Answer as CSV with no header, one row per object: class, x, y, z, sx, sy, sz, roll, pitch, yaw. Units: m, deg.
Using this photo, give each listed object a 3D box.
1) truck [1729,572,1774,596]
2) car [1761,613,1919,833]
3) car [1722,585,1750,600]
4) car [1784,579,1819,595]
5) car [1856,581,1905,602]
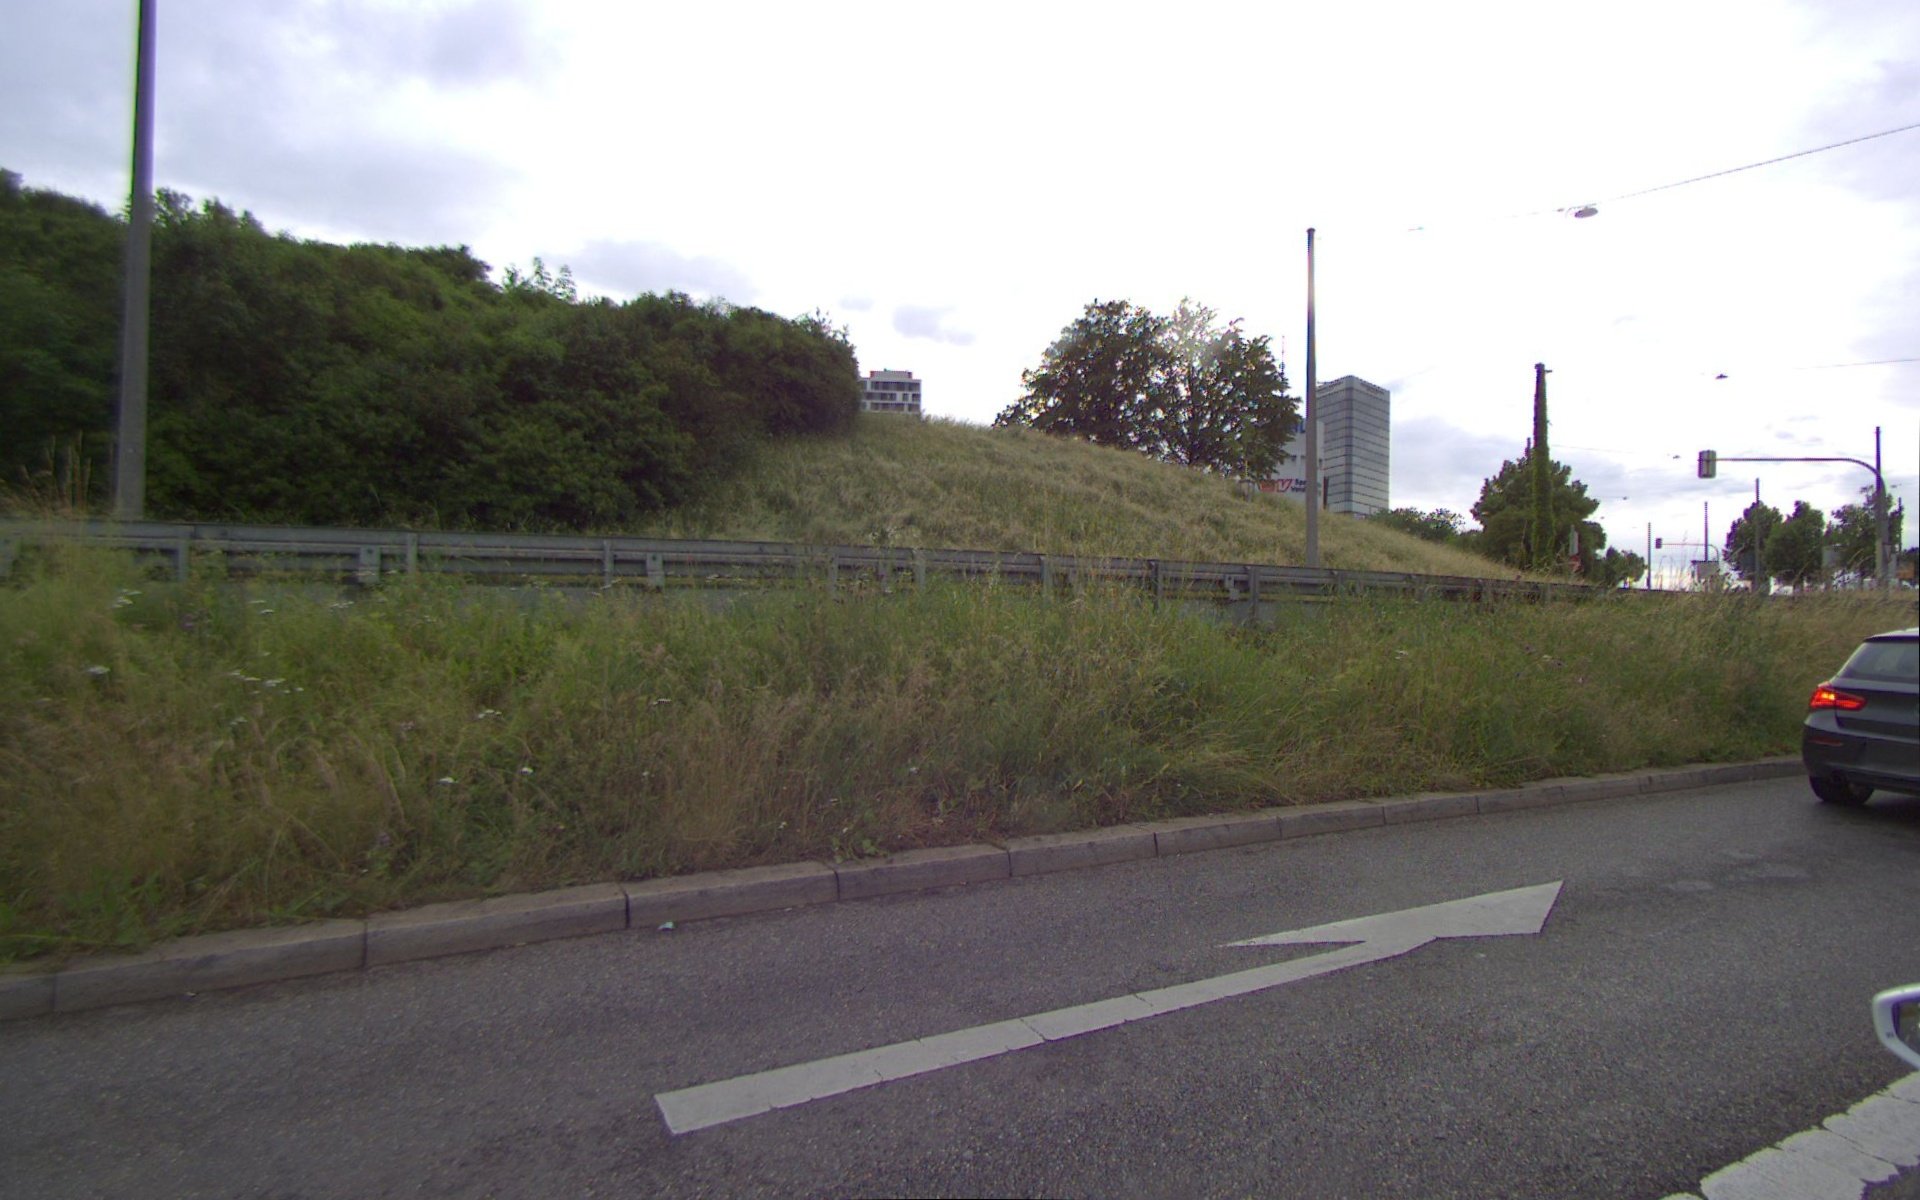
truck,109.354,-2.278,138.804,3.206,3.116,6.171,4,3,23
car,8.279,0.860,7.709,4.058,1.479,1.698,1,-1,-25
car,102.581,-0.982,132.815,1.962,1.681,4.350,2,-1,25
car,97.314,-1.457,116.206,1.962,1.681,4.541,2,-1,25
car,86.906,-0.812,94.858,2.096,1.818,4.736,2,-1,26
